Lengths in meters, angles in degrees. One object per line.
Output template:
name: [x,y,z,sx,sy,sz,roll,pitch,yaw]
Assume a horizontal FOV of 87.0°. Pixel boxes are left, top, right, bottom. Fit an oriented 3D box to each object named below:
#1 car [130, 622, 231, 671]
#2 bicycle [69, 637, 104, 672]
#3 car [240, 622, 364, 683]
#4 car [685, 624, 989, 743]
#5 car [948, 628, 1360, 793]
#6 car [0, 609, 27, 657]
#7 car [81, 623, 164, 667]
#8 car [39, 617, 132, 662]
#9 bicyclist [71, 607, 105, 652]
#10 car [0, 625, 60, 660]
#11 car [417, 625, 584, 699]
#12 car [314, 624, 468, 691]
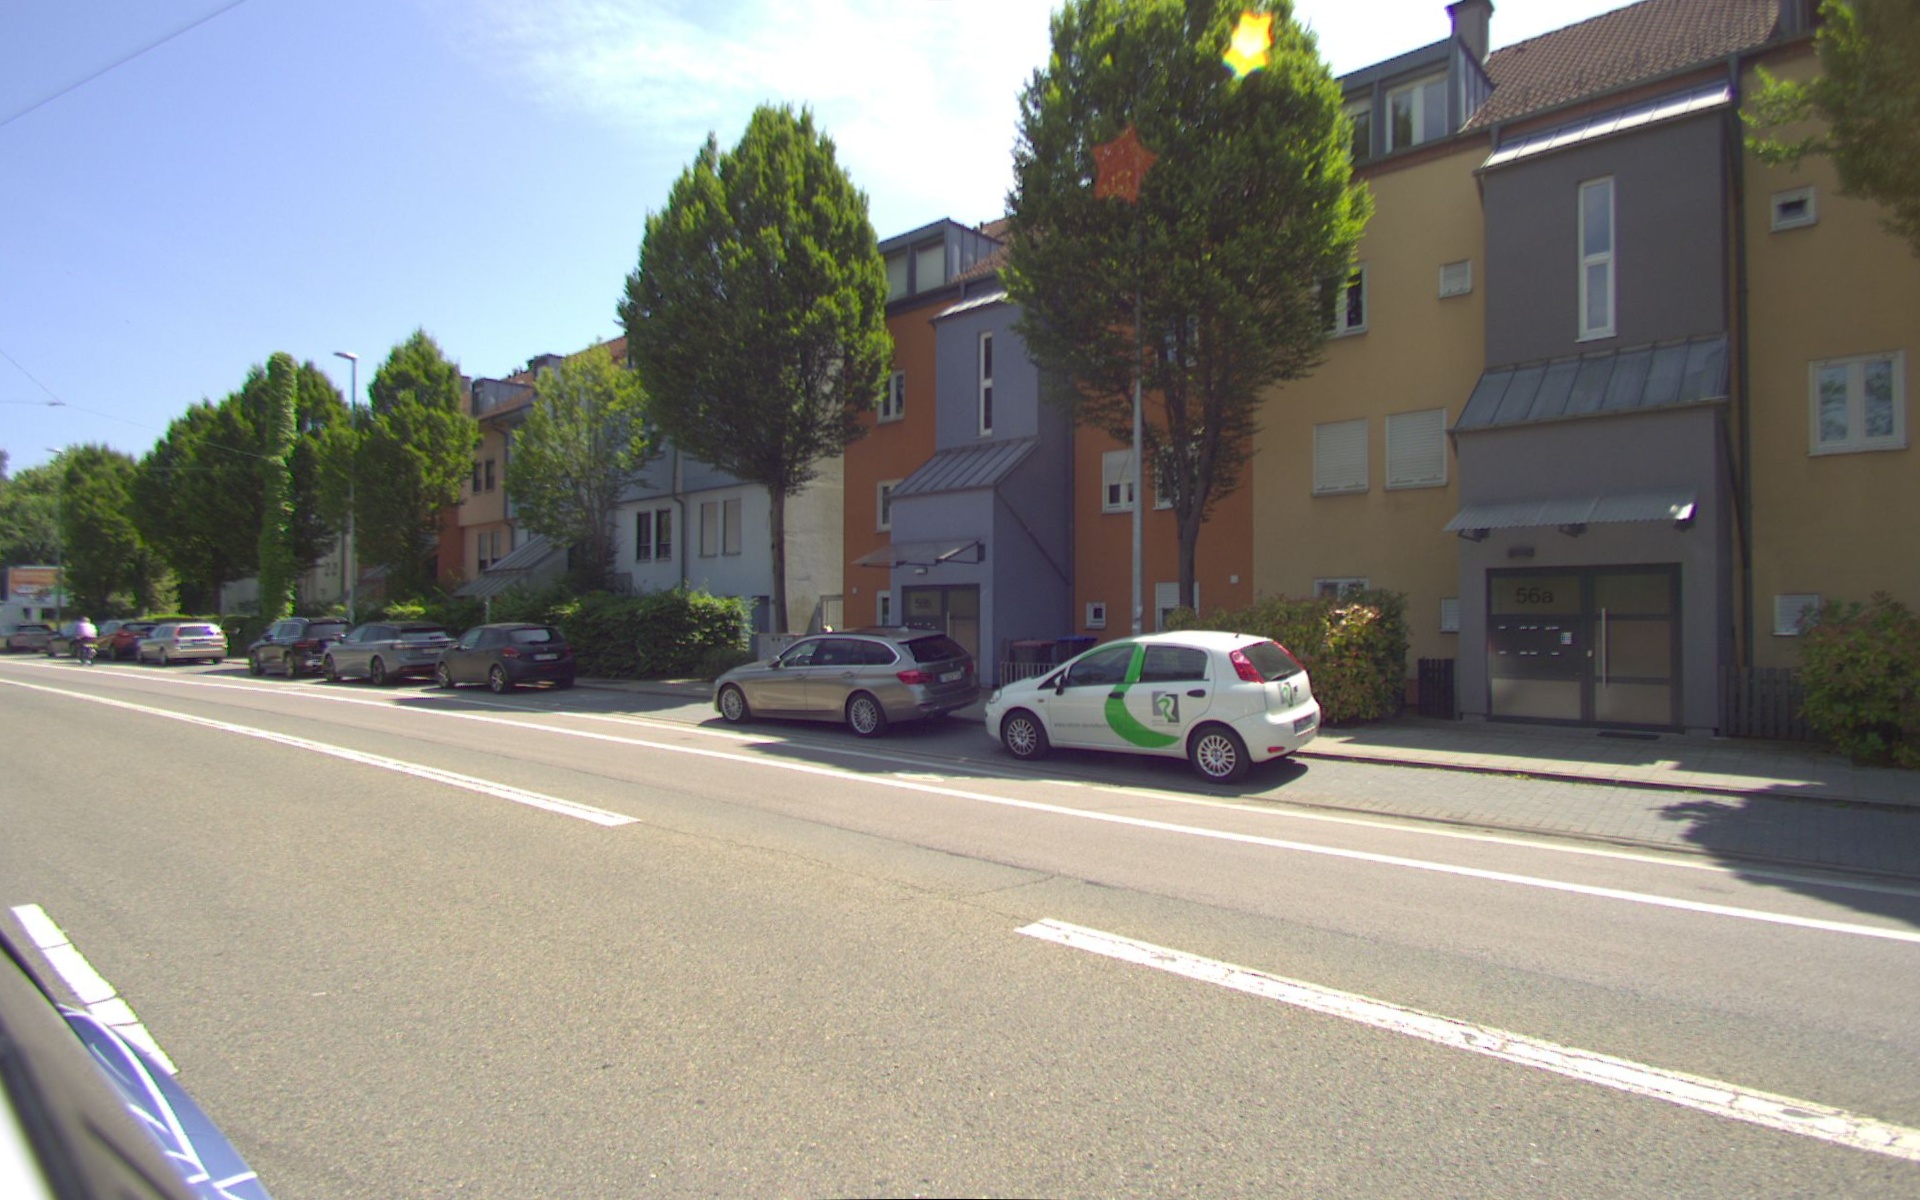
car: [-28.066,1.632,36.396,4.490,1.595,1.822,-2,0,38]
bicycle: [-29.887,1.859,34.616,1.638,1.104,0.633,0,-4,41]
car: [-19.161,1.472,29.412,4.142,1.601,1.750,-2,0,38]
car: [-1.987,1.169,15.449,4.744,1.440,1.688,-2,2,38]
car: [2.116,1.124,11.833,4.417,1.453,1.728,-2,3,41]
car: [-49.611,1.709,51.191,5.212,2.325,2.261,-2,0,32]
car: [-32.929,1.747,39.757,3.673,1.606,1.586,-2,0,35]
car: [-37.093,1.654,42.896,4.548,1.808,1.976,-1,-1,35]
bicyclist: [-29.882,1.000,34.672,0.736,1.516,0.728,0,-3,41]
car: [-44.508,2.018,48.025,4.135,1.549,1.849,-2,0,36]
car: [-10.346,1.318,22.648,4.254,1.443,1.732,-1,0,40]
car: [-14.574,1.406,25.830,4.752,1.507,1.807,-2,0,39]
